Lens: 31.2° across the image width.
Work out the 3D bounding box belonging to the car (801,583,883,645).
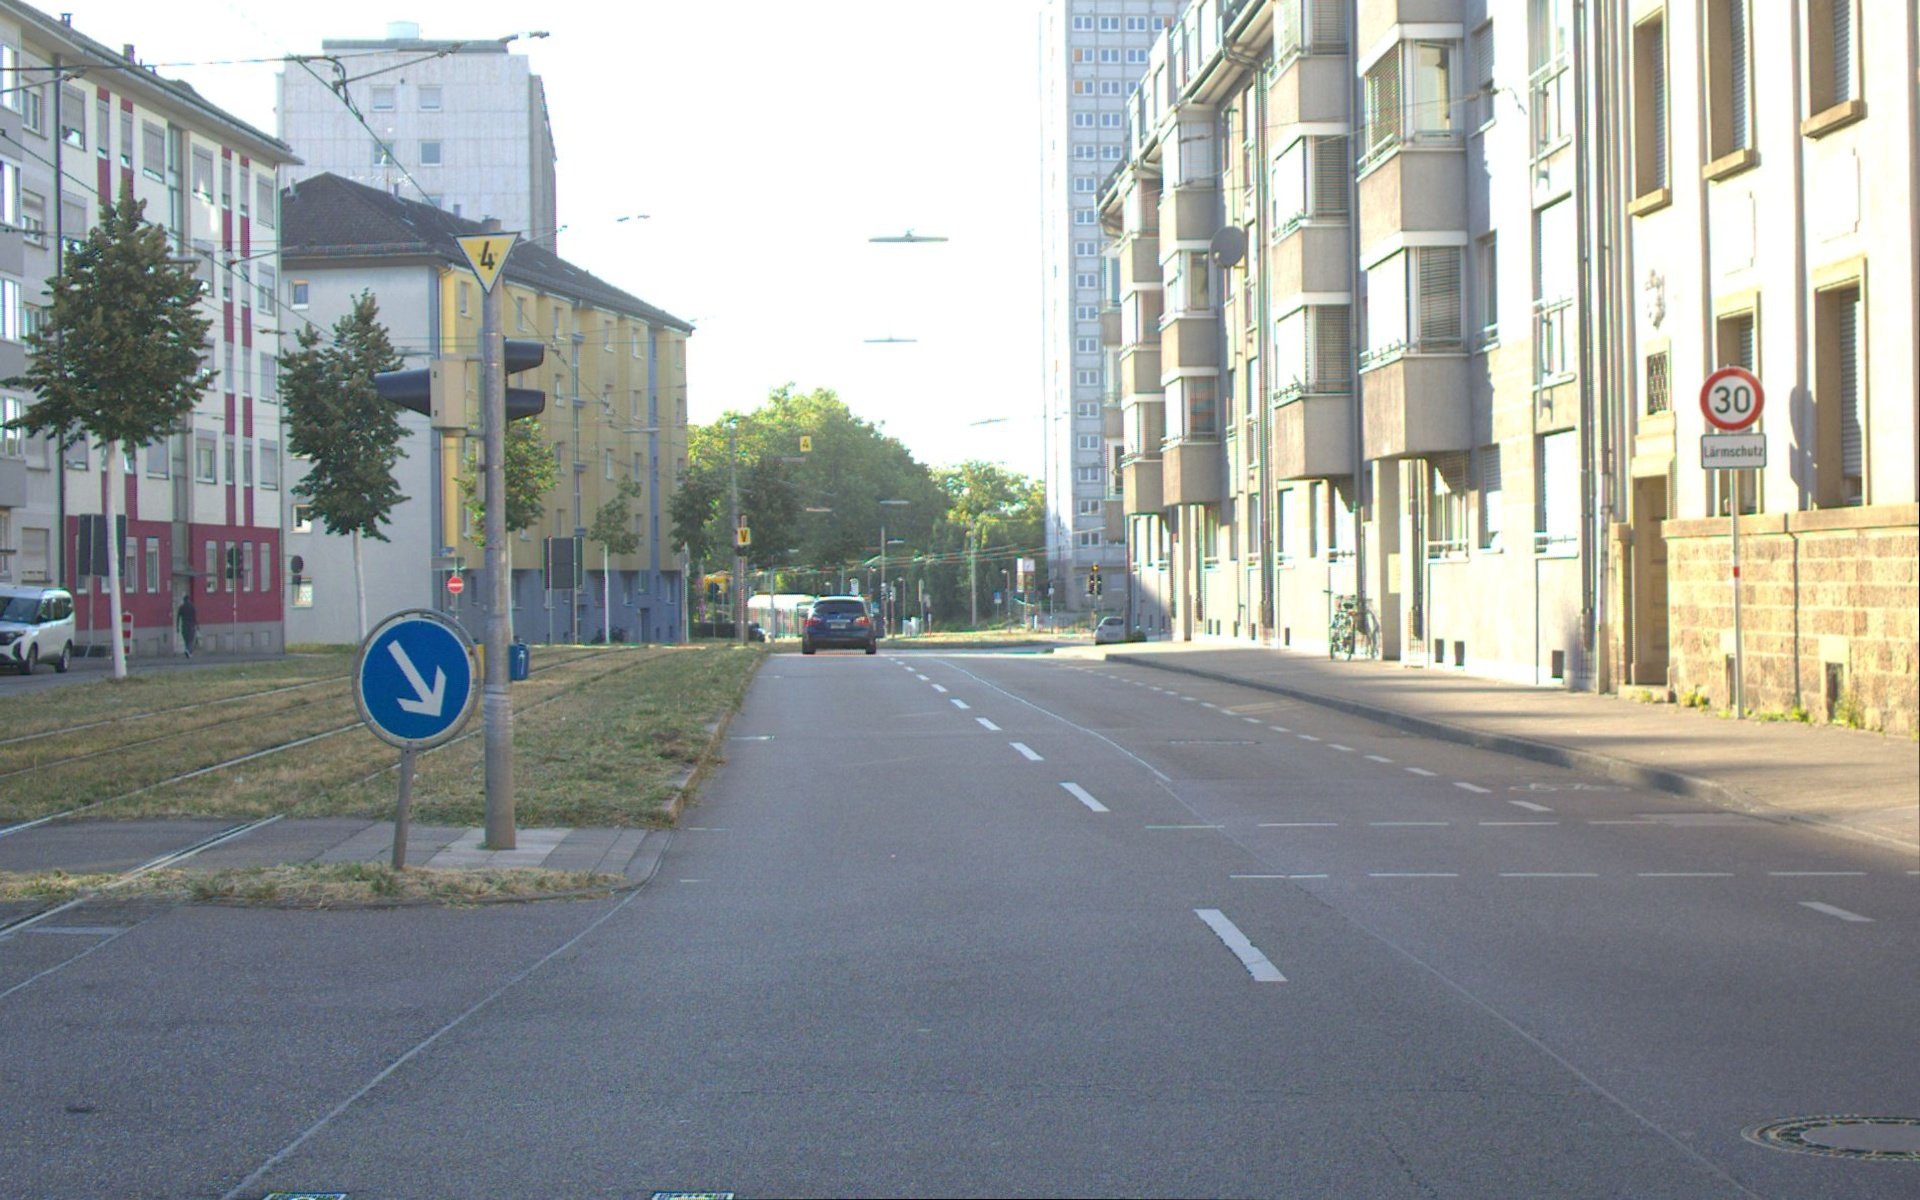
[{"bbox_3d":[-2.868,0.344,84.215,1.926,1.451,4.327,0,0,-1],"label":"car"}]

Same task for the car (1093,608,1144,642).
[{"bbox_3d":[7.368,1.167,159.276,1.994,1.558,3.998,0,0,8],"label":"car"}]

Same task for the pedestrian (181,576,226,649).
[{"bbox_3d":[-21.200,0.344,96.373,1.005,2.029,0.886,0,-1,5],"label":"pedestrian"}]

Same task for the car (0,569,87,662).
[{"bbox_3d":[-20.135,0.327,72.824,1.993,1.918,4.541,0,0,2],"label":"car"}]

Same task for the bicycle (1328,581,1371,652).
[{"bbox_3d":[6.140,0.258,54.234,0.383,1.092,1.504,-2,0,-4],"label":"bicycle"}]

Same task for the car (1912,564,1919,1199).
[{"bbox_3d":[2.720,0.707,4.640,1.697,1.547,4.225,0,0,0],"label":"car"}]
